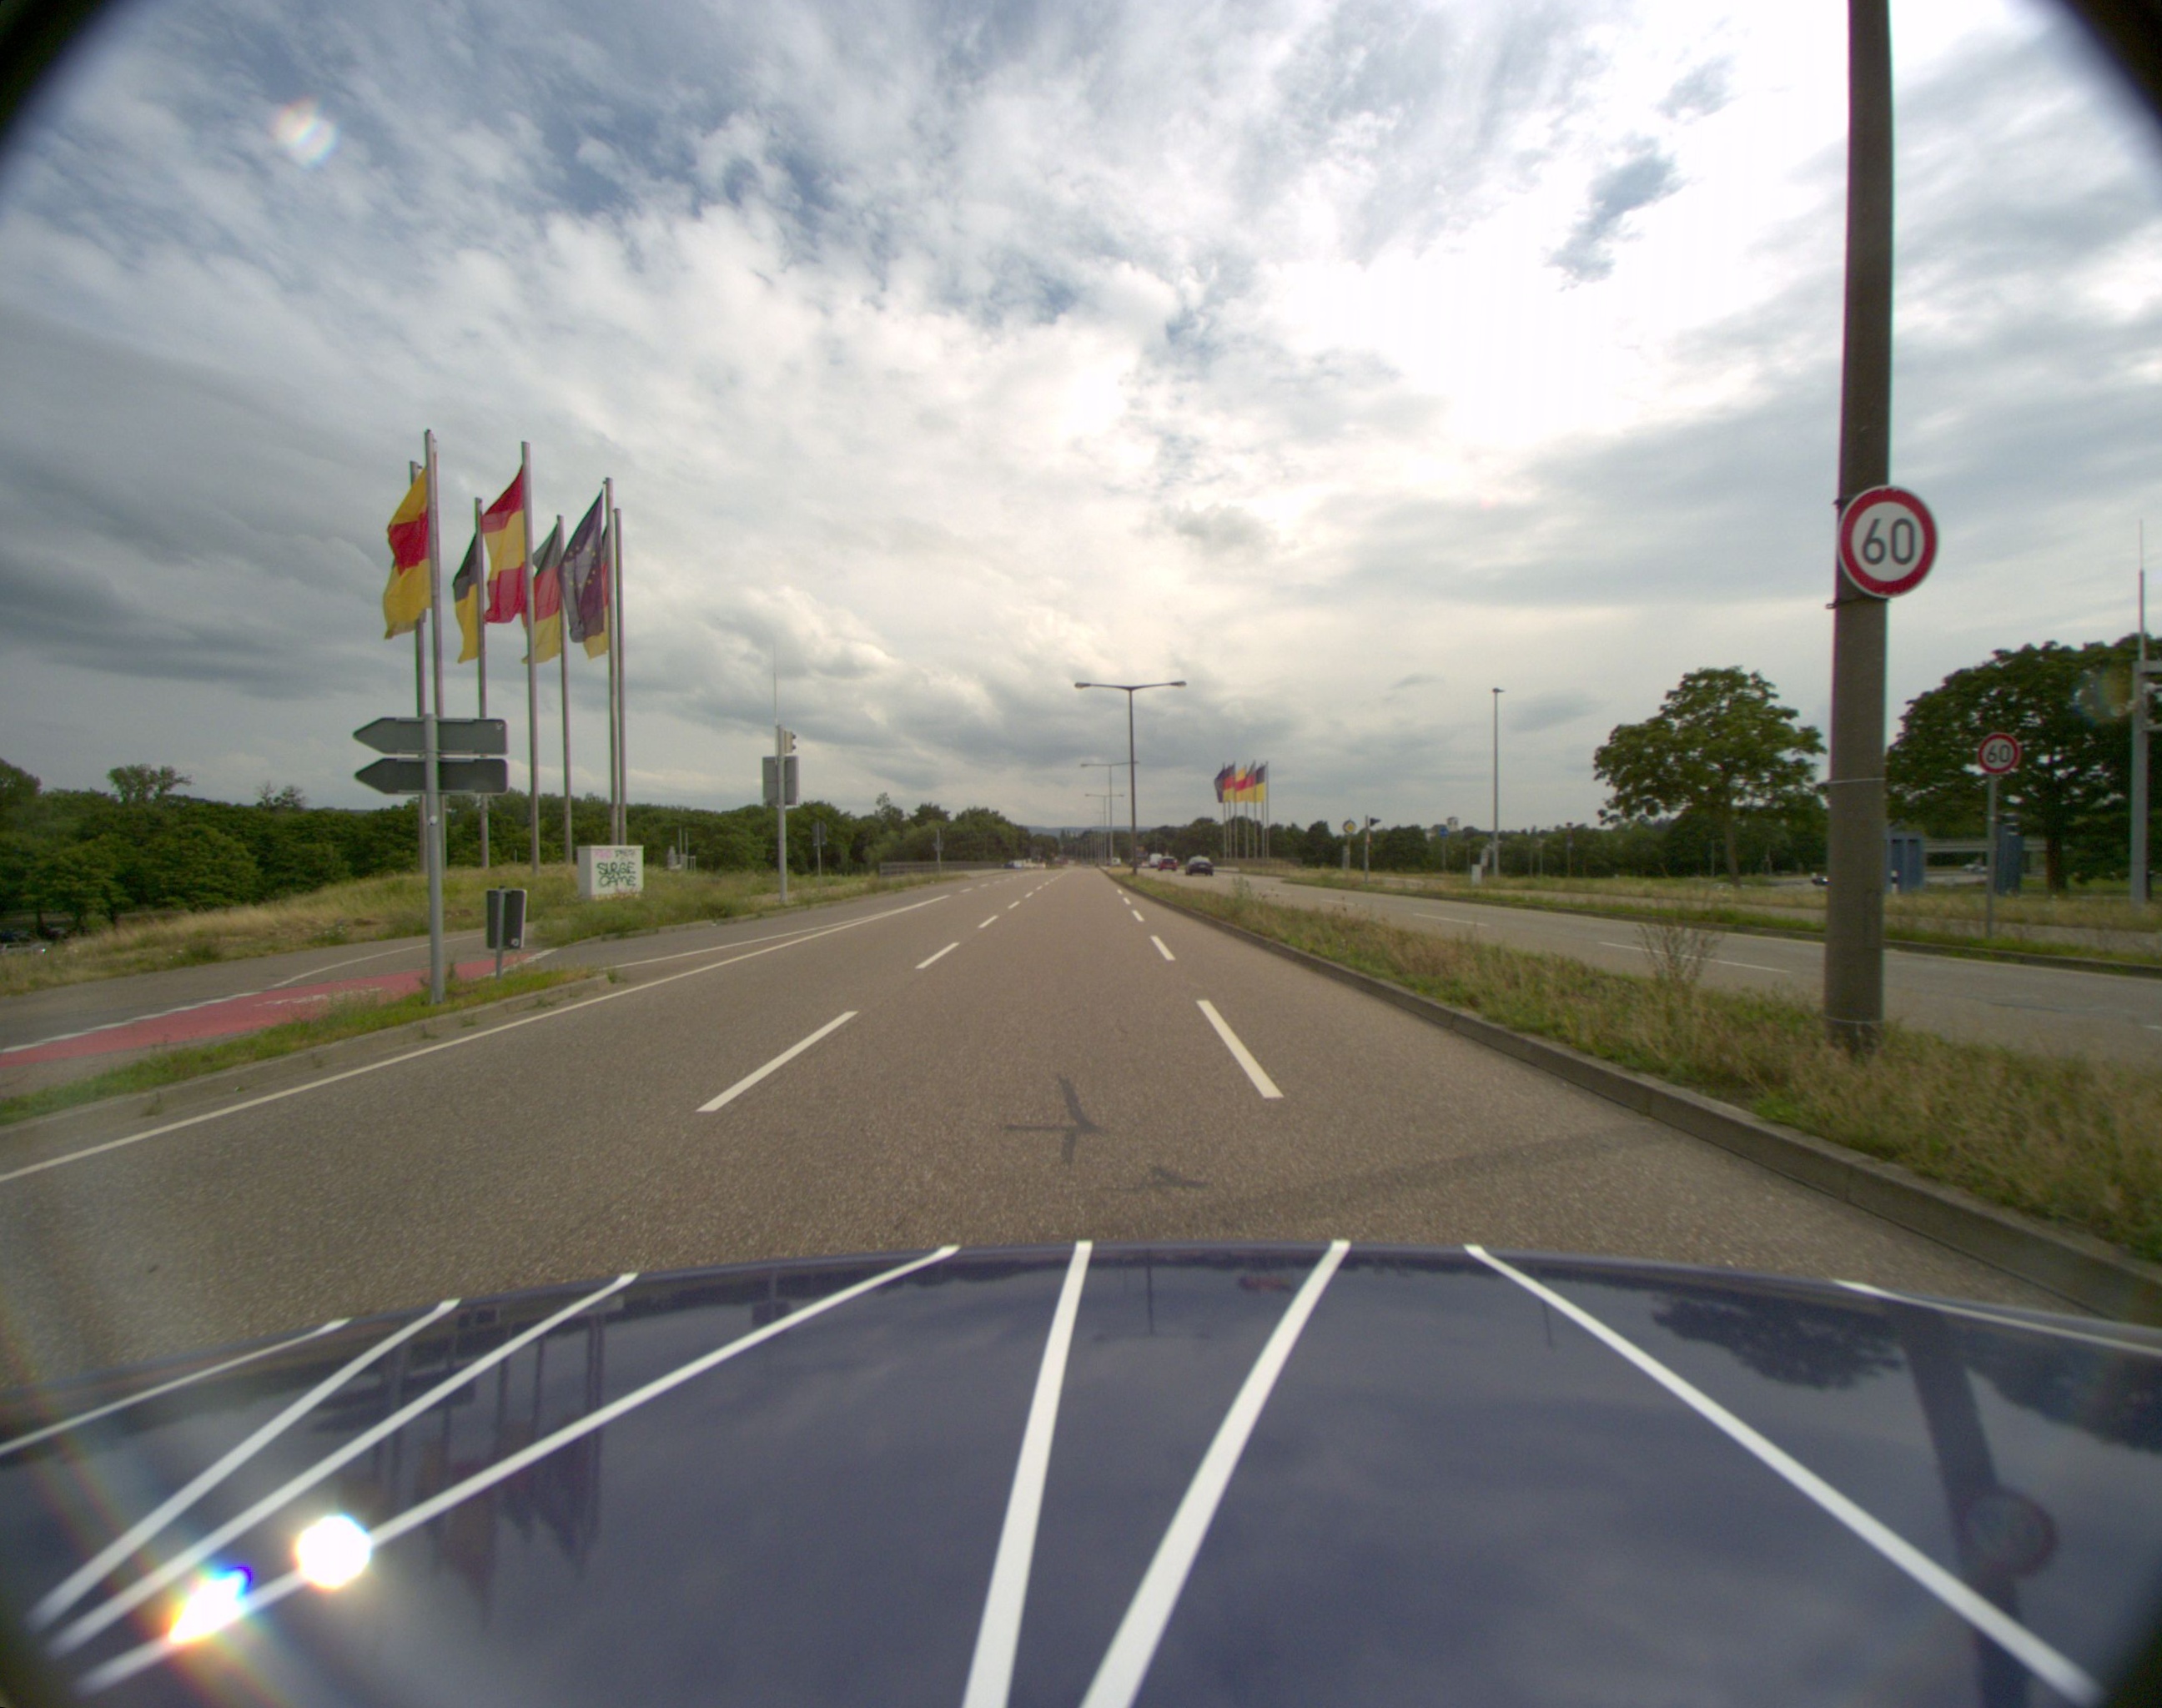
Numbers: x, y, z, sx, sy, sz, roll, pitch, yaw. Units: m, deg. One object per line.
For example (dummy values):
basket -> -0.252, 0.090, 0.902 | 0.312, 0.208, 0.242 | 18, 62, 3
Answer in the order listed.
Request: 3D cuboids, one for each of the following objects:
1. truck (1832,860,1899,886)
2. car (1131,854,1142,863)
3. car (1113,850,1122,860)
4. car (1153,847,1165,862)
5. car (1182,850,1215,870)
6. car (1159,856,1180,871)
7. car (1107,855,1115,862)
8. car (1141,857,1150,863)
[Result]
truck -> 143.755, 3.445, 139.148 | 14.019, 4.318, 3.024 | -1, 1, -20
car -> 10.104, 0.860, 139.238 | 1.751, 1.576, 4.587 | 1, 0, 2
car -> 6.718, 0.176, 138.474 | 1.543, 1.860, 3.571 | 1, 0, 2
car -> 13.926, 0.123, 135.508 | 2.057, 2.627, 6.402 | 1, 0, 5
car -> 9.147, 0.433, 59.544 | 1.750, 1.467, 4.564 | 0, 0, -1
car -> 9.475, 0.994, 81.463 | 1.655, 1.565, 4.337 | 1, 0, -1
car -> 7.249, 1.100, 181.718 | 1.742, 1.472, 4.776 | 1, 0, 0
car -> 14.224, 1.318, 167.681 | 1.742, 1.472, 4.471 | 1, 0, 0
